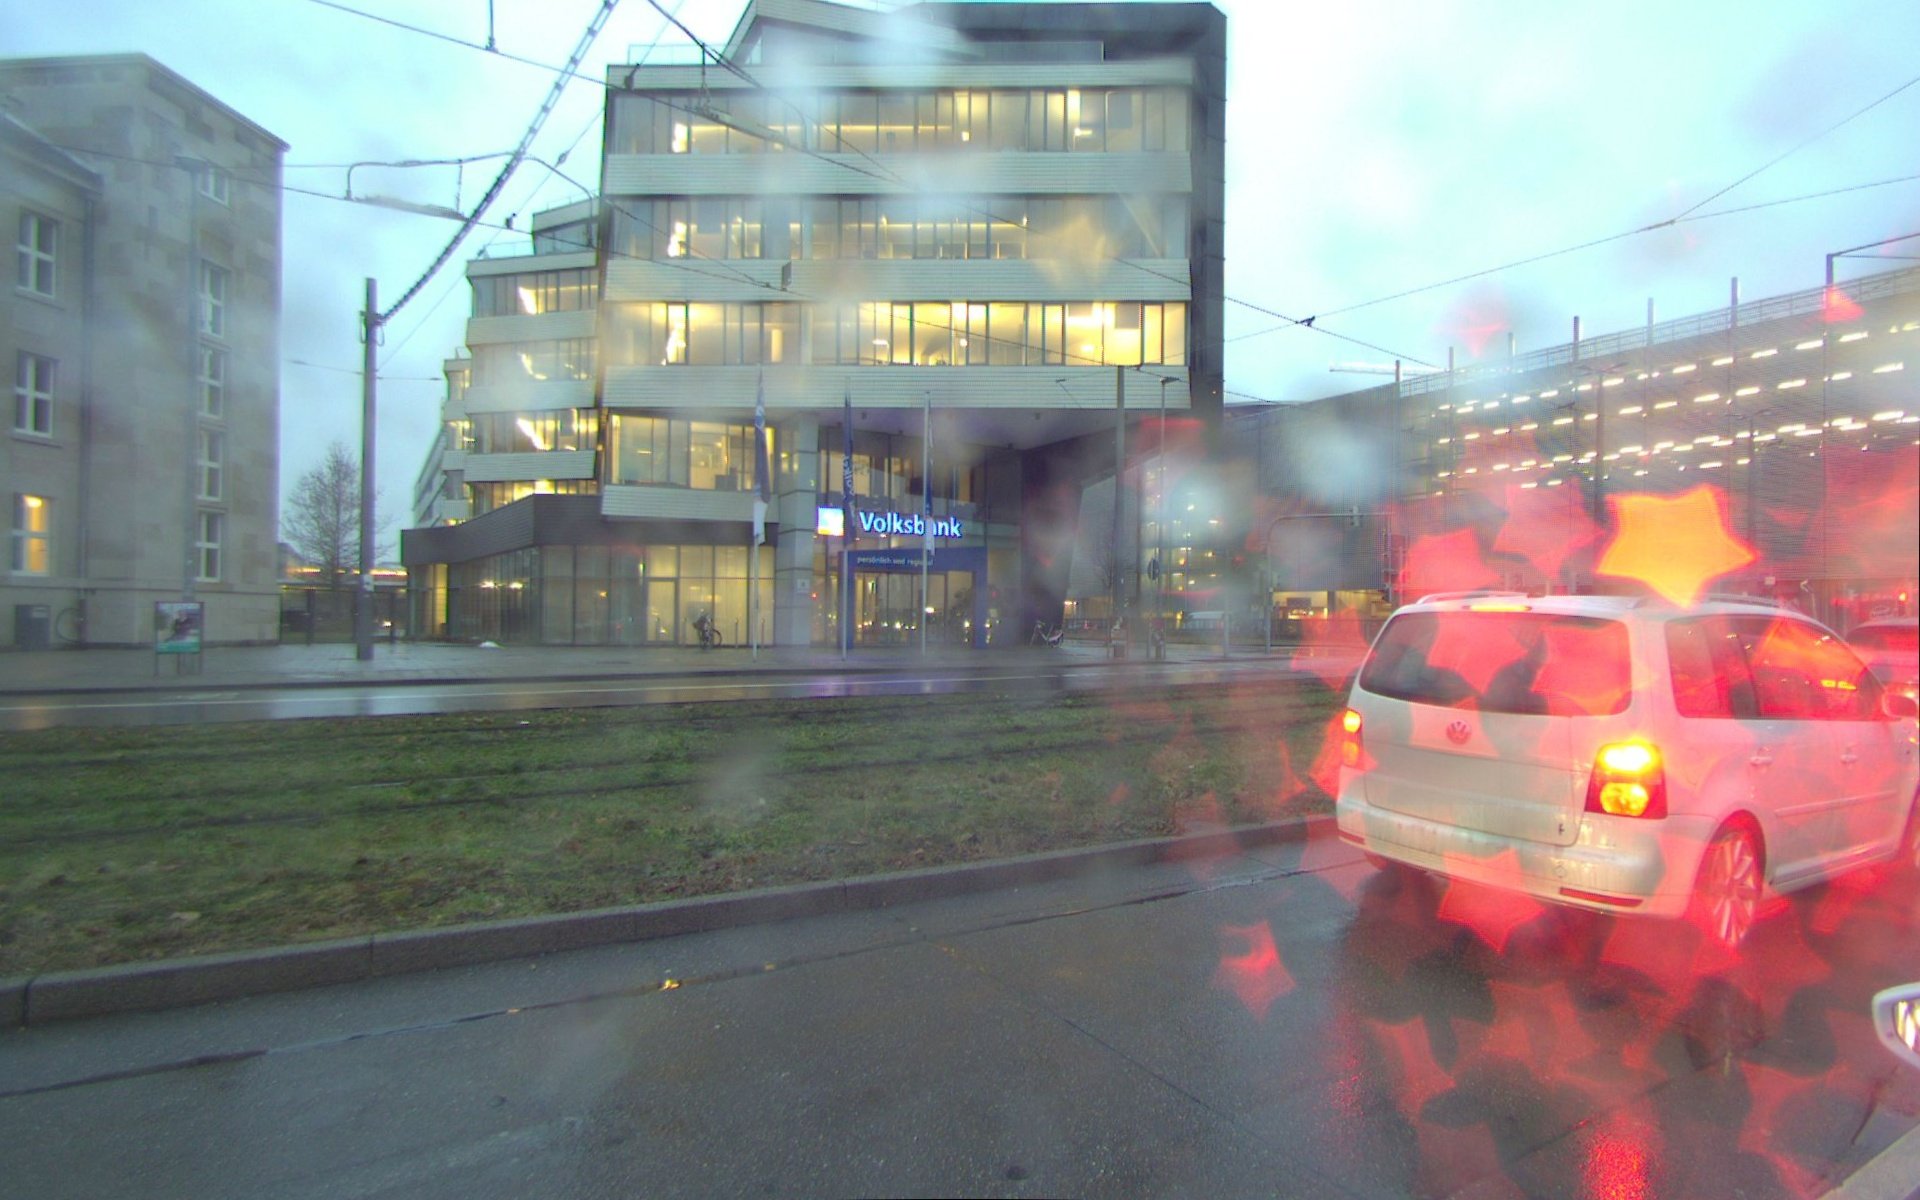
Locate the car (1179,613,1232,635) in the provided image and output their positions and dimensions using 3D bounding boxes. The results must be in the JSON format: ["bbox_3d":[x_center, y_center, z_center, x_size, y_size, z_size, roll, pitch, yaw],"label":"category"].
[{"bbox_3d":[22.795,2.194,93.381,1.782,2.027,4.806,1,-1,-36],"label":"car"}]

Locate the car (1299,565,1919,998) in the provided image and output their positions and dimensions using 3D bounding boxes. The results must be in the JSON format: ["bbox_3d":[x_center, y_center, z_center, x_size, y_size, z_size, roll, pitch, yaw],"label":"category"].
[{"bbox_3d":[3.974,0.704,5.704,4.102,1.682,1.660,1,1,-33],"label":"car"}]

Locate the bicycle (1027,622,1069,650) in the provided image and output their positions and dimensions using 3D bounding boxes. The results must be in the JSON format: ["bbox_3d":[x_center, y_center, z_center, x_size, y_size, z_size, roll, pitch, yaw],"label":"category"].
[{"bbox_3d":[3.514,1.431,40.109,1.588,1.105,0.553,1,-1,-23],"label":"bicycle"}]

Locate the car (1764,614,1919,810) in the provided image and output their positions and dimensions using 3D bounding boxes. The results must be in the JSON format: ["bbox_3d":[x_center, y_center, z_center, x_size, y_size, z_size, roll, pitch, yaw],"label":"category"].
[{"bbox_3d":[9.355,0.956,9.436,3.959,1.595,1.742,1,-1,-34],"label":"car"}]

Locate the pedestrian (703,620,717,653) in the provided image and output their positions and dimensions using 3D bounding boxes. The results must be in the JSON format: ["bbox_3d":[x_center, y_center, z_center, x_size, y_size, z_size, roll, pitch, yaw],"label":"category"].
[{"bbox_3d":[-8.556,1.249,34.381,0.380,1.103,0.325,0,-1,5],"label":"pedestrian"}]

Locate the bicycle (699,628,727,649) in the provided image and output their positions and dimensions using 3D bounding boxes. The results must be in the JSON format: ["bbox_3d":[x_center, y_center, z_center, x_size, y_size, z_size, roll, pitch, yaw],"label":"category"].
[{"bbox_3d":[-8.630,1.339,35.066,0.896,0.724,0.483,1,-1,-10],"label":"bicycle"}]
